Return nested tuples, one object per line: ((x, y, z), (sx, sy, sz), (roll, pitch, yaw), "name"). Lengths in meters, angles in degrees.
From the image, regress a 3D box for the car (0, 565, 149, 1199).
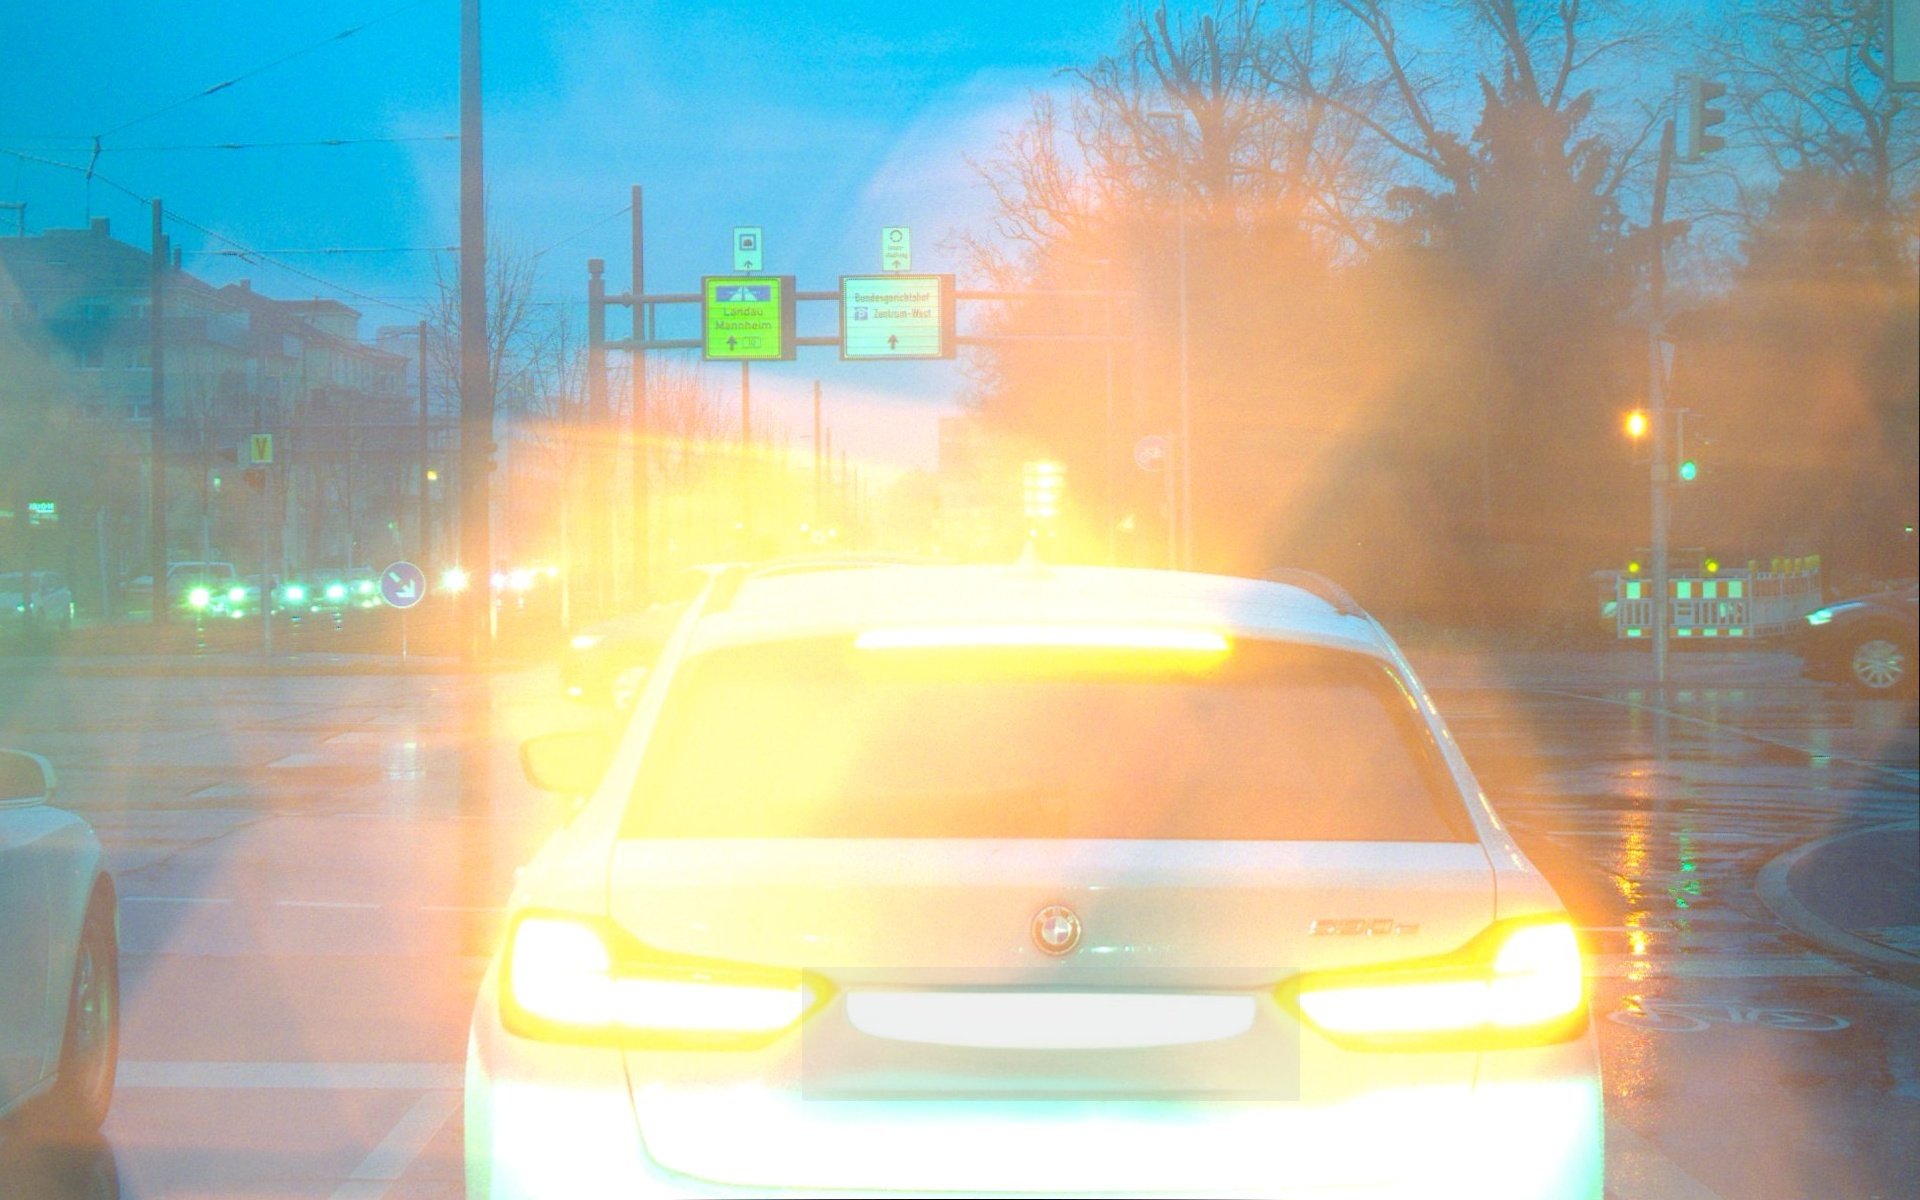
((-3.091, 0.668, 7.057), (1.993, 1.451, 4.369), (0, 1, -2), "car")

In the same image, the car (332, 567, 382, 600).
((-27.713, -0.751, 158.103), (1.675, 1.502, 3.696), (1, 0, -1), "car")

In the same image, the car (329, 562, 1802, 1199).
((0.054, 0.671, 6.839), (1.993, 1.451, 4.369), (0, 1, -2), "car")

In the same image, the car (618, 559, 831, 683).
((-3.186, 0.260, 45.891), (1.743, 1.548, 3.969), (1, 0, -21), "car")

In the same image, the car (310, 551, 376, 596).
((-21.401, -0.898, 119.348), (1.675, 1.502, 3.696), (1, 0, -1), "car")

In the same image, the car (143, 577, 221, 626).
((-24.827, 0.042, 109.858), (1.675, 1.502, 3.696), (1, 0, -1), "car")

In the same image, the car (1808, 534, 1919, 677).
((10.677, 0.088, 34.486), (3.991, 1.397, 1.755), (1, 0, 22), "car")

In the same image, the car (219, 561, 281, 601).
((-27.739, -0.749, 134.360), (1.675, 1.502, 3.696), (1, 0, -1), "car")

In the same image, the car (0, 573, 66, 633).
((-24.600, 0.068, 89.612), (1.675, 1.502, 3.696), (1, 0, -1), "car")

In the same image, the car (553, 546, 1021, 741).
((-1.509, 0.376, 30.905), (3.987, 1.617, 1.719), (1, 0, 5), "car")

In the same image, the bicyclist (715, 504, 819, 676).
((-2.013, -0.104, 36.004), (0.972, 1.753, 0.813), (1, 0, 2), "bicyclist")

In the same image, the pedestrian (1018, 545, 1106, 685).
((1.374, 0.199, 46.271), (0.904, 1.850, 0.811), (1, 0, 24), "pedestrian")
